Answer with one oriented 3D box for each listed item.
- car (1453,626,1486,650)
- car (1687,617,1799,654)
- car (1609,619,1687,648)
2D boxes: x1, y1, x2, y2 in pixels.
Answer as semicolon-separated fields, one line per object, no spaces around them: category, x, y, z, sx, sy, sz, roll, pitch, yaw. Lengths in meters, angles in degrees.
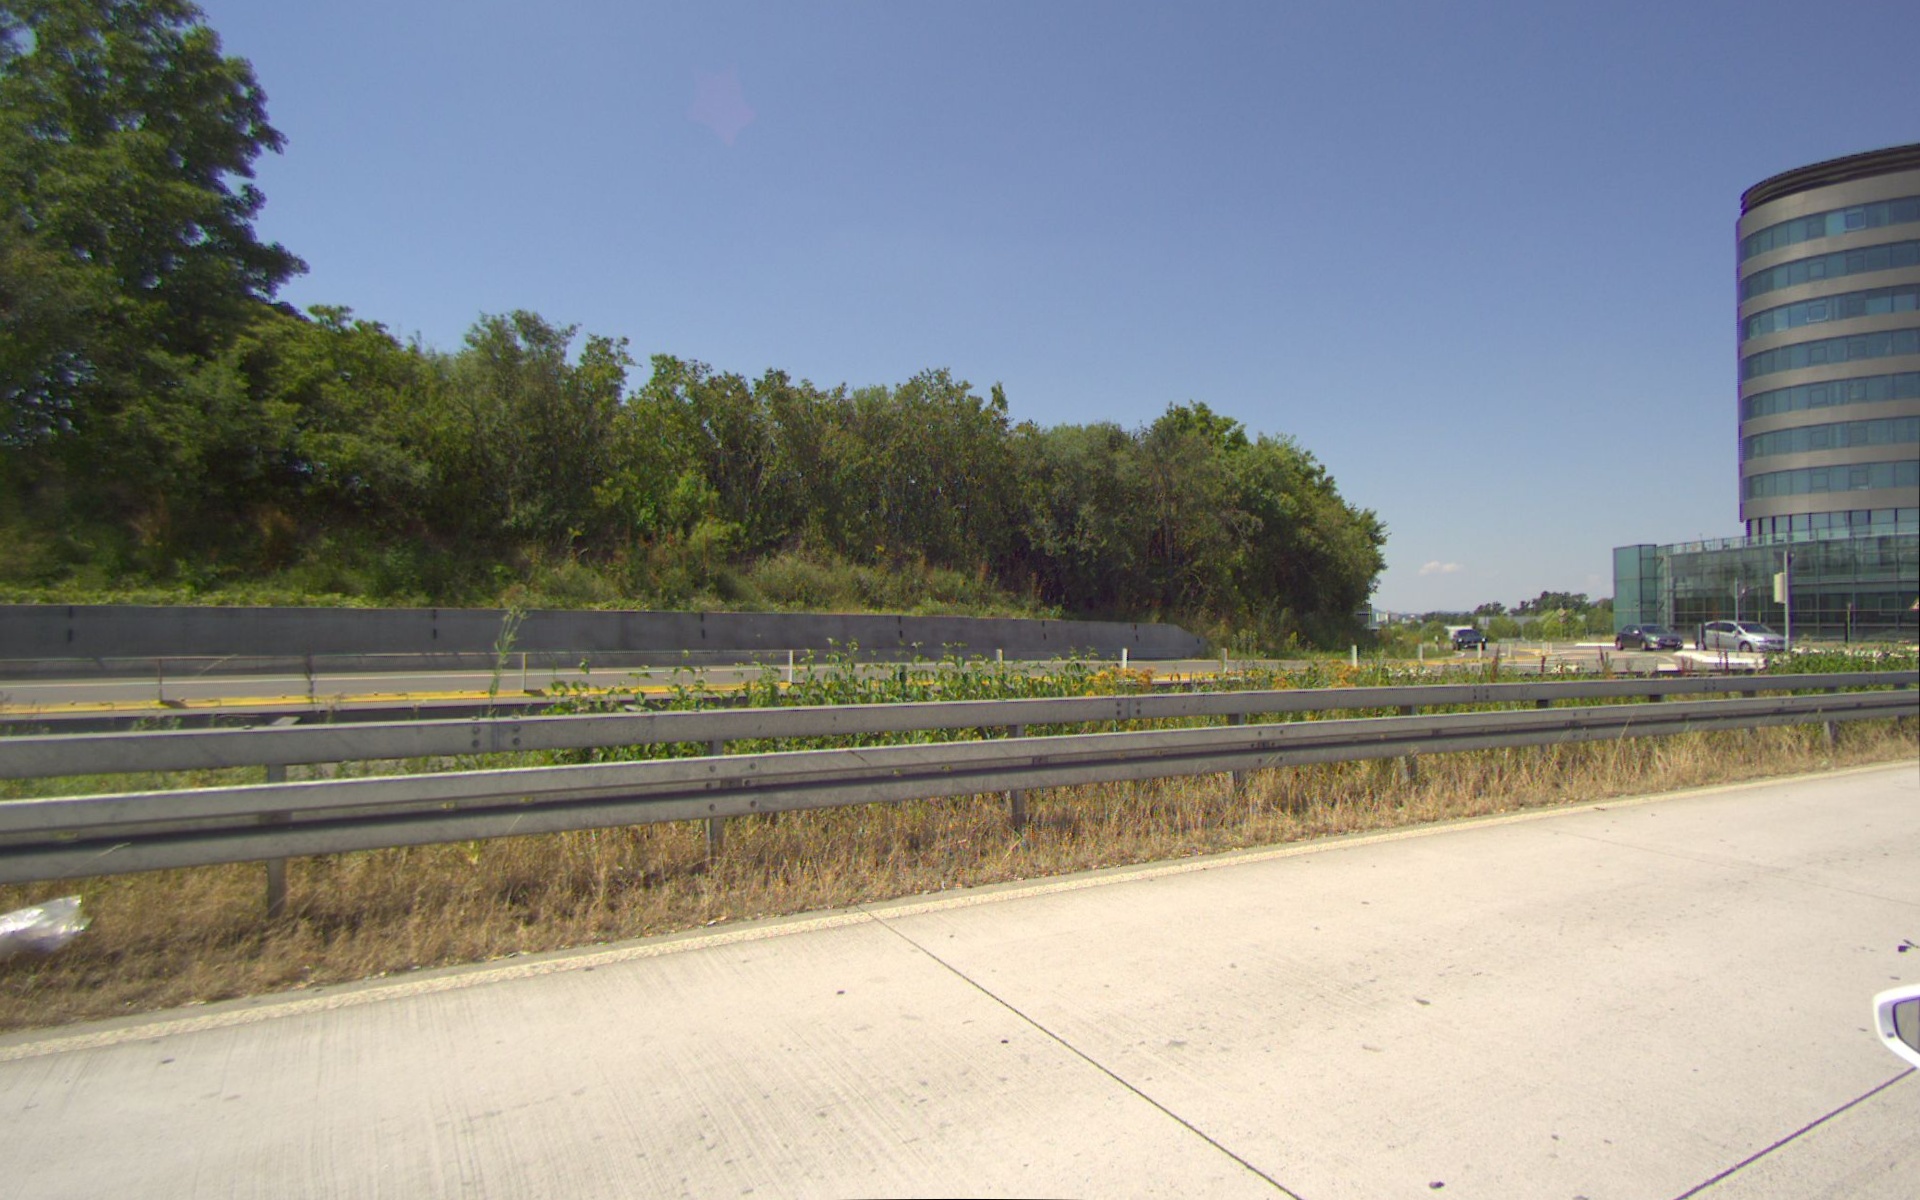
car;34.986;2.578;69.081;1.684;1.504;4.292;2;0;23
car;36.496;1.671;46.957;1.742;1.616;4.329;2;-2;-2
car;37.310;1.837;54.590;1.663;1.475;4.333;2;-2;6
